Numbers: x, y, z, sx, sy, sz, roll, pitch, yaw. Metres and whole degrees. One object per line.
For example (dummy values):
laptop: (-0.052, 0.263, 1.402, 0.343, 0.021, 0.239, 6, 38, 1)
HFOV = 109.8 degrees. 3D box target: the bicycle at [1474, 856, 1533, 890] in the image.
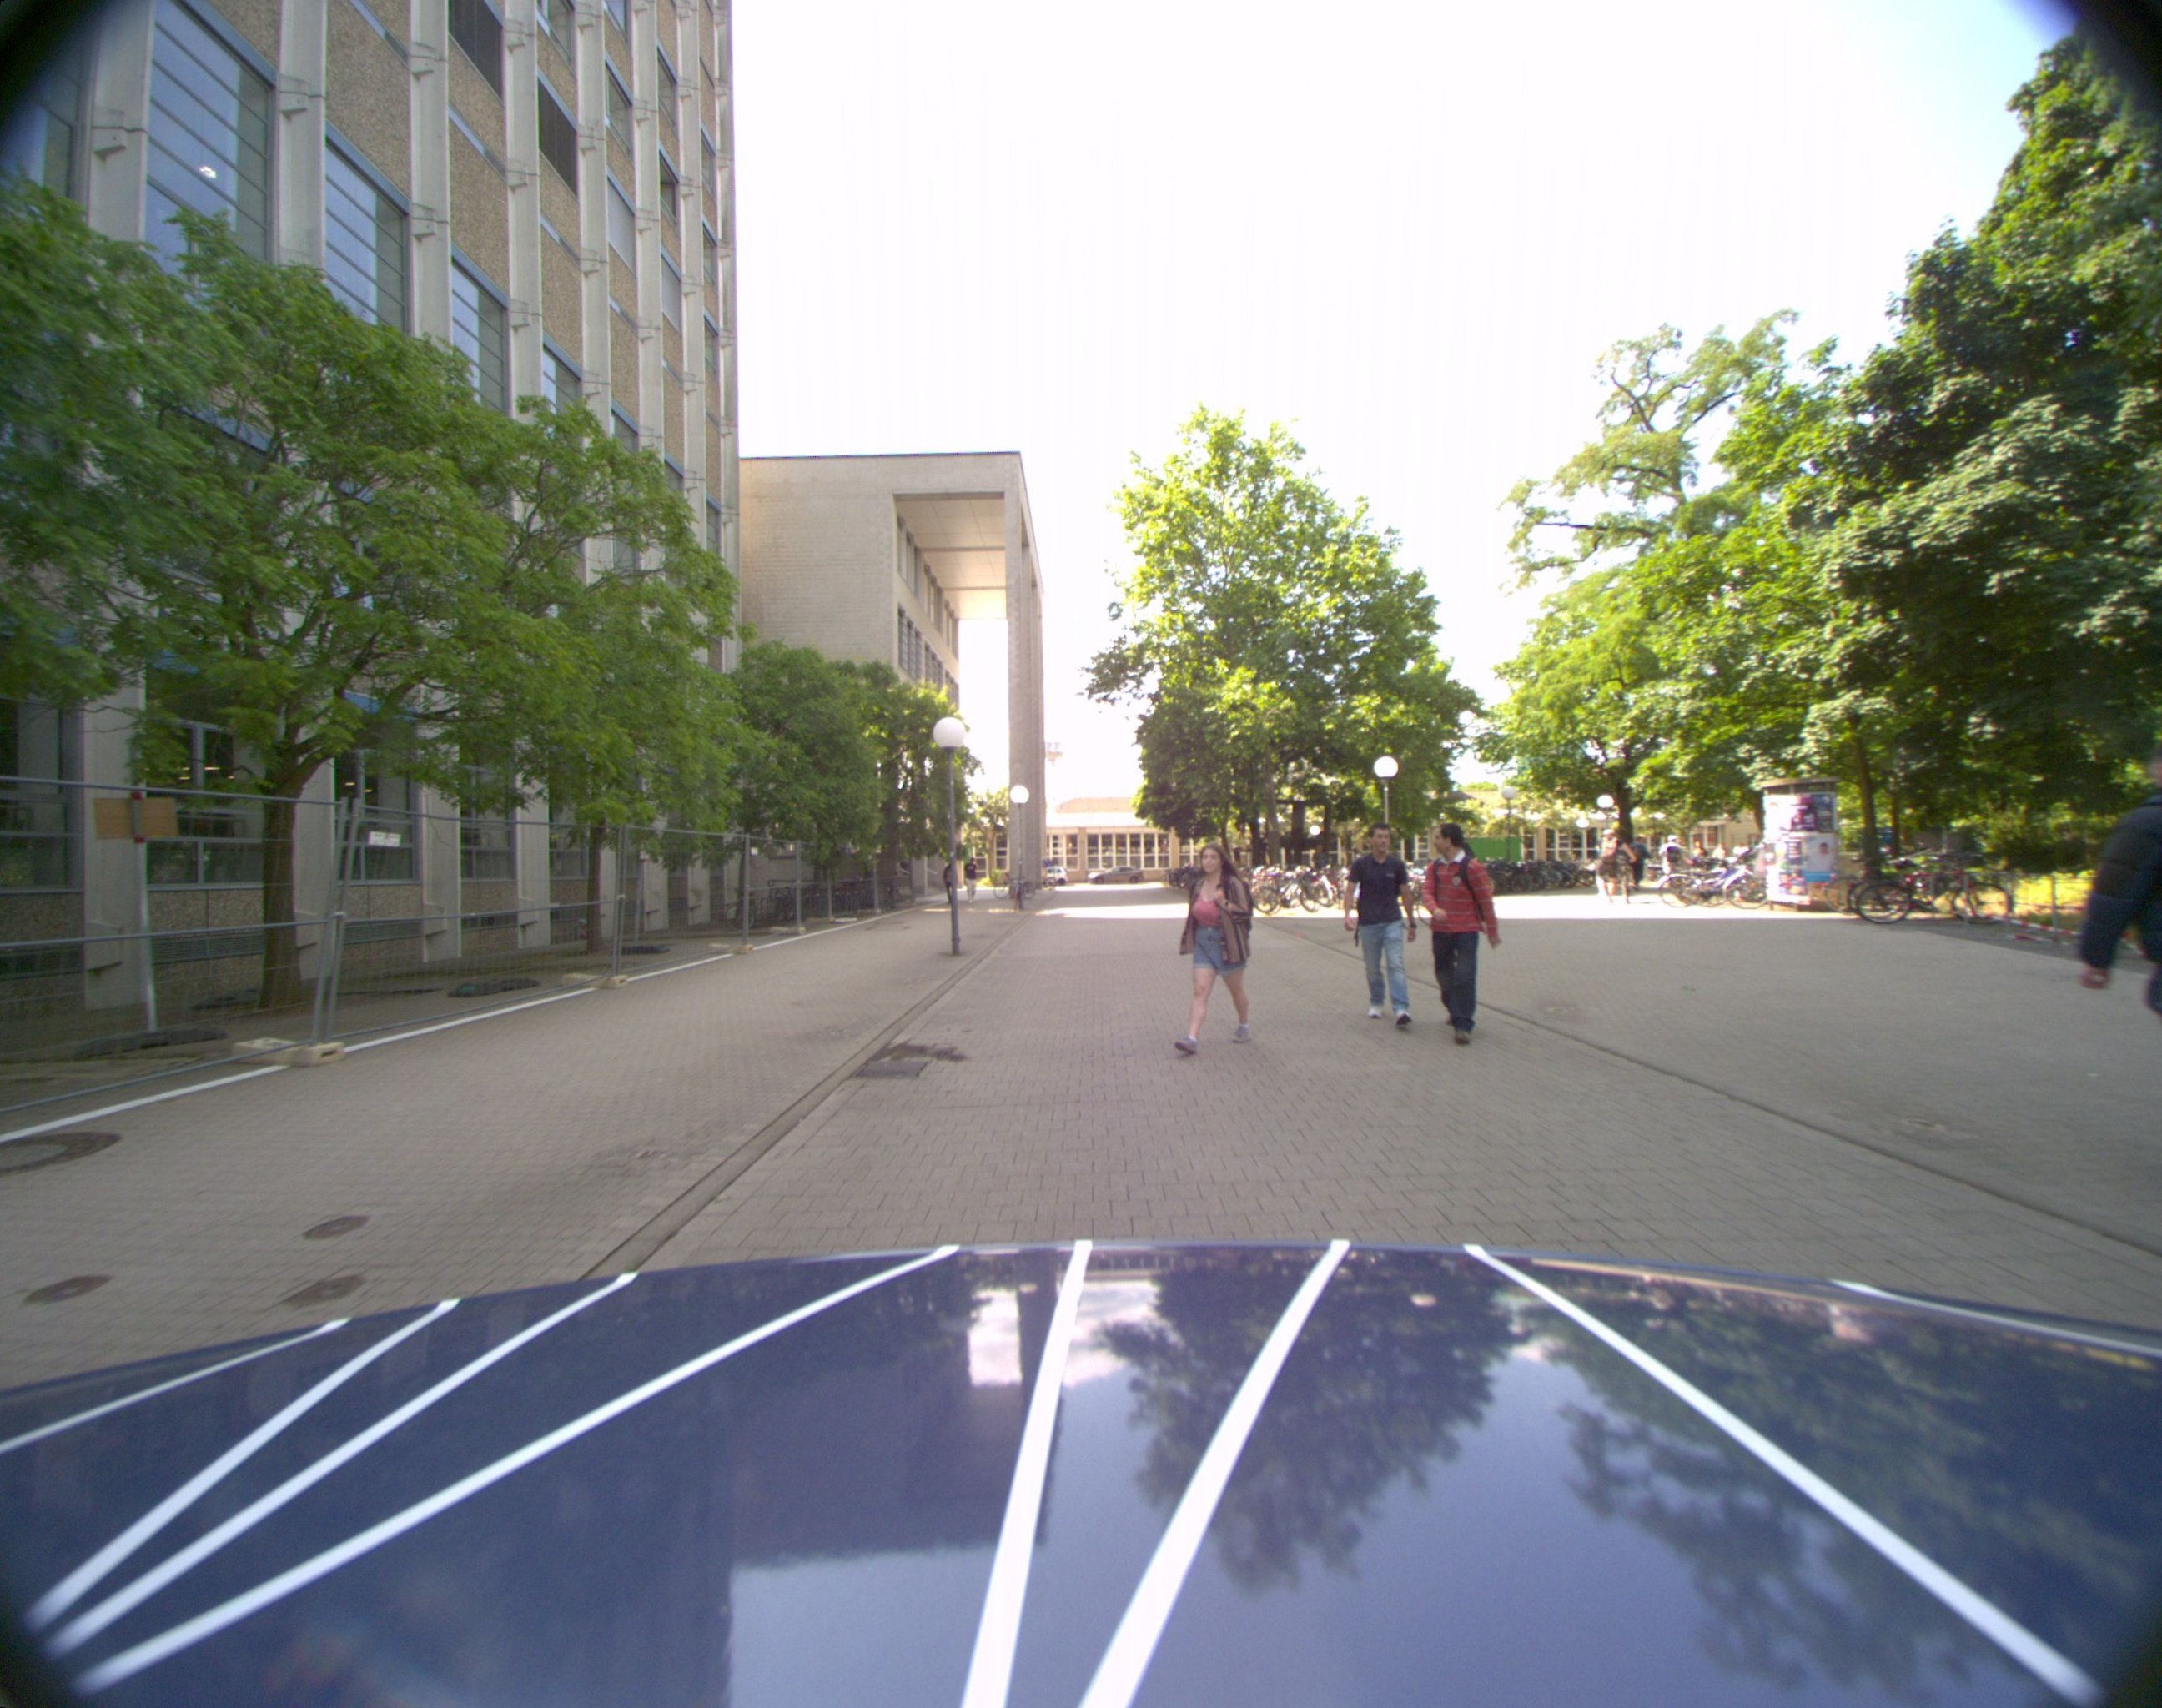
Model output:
bicycle: (14.524, 0.669, 26.143, 1.695, 1.077, 0.475, -3, 0, 36)

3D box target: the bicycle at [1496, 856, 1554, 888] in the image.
bicycle: (15.996, 0.668, 27.381, 1.695, 1.077, 0.475, -3, 0, 43)

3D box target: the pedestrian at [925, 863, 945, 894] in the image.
pedestrian: (-7.727, 1.291, 40.268, 0.809, 1.608, 0.739, -2, 0, -27)

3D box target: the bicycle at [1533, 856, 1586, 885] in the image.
bicycle: (18.947, 0.651, 30.110, 0.475, 1.077, 1.695, -3, 0, -38)

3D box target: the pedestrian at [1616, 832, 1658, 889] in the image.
pedestrian: (18.254, 0.222, 24.937, 0.884, 1.804, 0.833, -3, 0, -40)

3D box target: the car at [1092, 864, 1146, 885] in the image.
car: (3.021, 1.621, 60.648, 4.208, 1.467, 1.653, -3, 1, 1)

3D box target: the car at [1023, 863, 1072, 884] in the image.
car: (-2.624, 1.576, 60.560, 3.776, 1.467, 1.653, -2, 1, 1)

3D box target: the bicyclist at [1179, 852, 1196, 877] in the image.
bicyclist: (7.421, 0.722, 53.030, 0.772, 1.706, 0.913, -1, 1, 42)

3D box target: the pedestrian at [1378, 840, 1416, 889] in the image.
pedestrian: (11.274, 0.376, 27.114, 0.771, 1.693, 0.905, -3, 0, -43)

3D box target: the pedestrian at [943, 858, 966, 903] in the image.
pedestrian: (-4.795, 1.012, 28.702, 0.703, 1.645, 0.881, -2, -1, -17)

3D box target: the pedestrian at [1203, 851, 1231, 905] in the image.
pedestrian: (4.353, 0.760, 24.261, 0.768, 1.669, 0.908, -2, -1, 13)

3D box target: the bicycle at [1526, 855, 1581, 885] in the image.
bicycle: (18.286, 0.625, 29.411, 0.475, 1.077, 1.695, -3, 0, -38)

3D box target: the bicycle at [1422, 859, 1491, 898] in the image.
bicycle: (10.938, 0.722, 22.140, 1.695, 1.077, 0.475, -3, 0, 39)

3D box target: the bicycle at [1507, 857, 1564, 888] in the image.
bicycle: (16.858, 0.705, 28.220, 0.475, 1.077, 1.695, -3, 0, -38)

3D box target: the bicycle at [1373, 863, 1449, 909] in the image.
bicycle: (8.328, 0.822, 19.255, 1.696, 1.077, 0.475, -3, 0, 20)

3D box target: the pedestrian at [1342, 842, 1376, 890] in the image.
pedestrian: (10.186, 0.438, 27.840, 0.905, 1.693, 0.771, -3, 0, 38)

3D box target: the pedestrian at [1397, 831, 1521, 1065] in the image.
pedestrian: (3.106, 0.698, 6.202, 0.717, 1.714, 1.067, -3, -1, 34)

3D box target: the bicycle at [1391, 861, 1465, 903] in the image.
bicycle: (9.341, 0.767, 20.506, 1.695, 1.077, 0.475, -3, 0, 42)

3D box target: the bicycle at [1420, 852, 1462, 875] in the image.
bicycle: (17.940, 0.483, 37.867, 0.503, 1.101, 1.903, -3, 0, -29)

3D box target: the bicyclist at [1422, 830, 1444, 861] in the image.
bicyclist: (22.269, -0.562, 48.045, 0.869, 1.880, 0.804, -3, -1, -25)

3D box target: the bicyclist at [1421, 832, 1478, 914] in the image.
bicyclist: (7.238, 0.367, 14.945, 0.722, 1.559, 0.595, -3, 0, -11)

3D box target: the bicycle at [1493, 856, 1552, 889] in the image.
bicycle: (15.652, 0.669, 26.972, 1.695, 1.077, 0.475, -3, 0, 43)

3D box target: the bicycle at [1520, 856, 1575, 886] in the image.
bicycle: (17.830, 0.665, 29.063, 0.475, 1.077, 1.695, -3, 0, -38)

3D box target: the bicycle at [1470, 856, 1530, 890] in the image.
bicycle: (14.198, 0.664, 25.750, 1.695, 1.077, 0.475, -3, 0, 36)

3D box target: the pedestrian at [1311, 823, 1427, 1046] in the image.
pedestrian: (2.586, 0.667, 6.782, 0.684, 1.824, 0.943, -3, -1, 35)

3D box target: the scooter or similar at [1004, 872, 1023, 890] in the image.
scooter or similar: (-4.348, 1.749, 48.999, 1.157, 1.144, 0.444, -2, -1, 6)

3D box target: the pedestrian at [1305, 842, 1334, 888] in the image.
pedestrian: (9.557, 0.430, 30.447, 0.771, 1.796, 0.708, -3, 0, -32)

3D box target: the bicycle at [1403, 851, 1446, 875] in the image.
bicycle: (16.563, 0.438, 36.705, 0.503, 1.101, 1.902, -3, 0, -32)

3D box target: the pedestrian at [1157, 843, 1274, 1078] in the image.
pedestrian: (1.044, 0.797, 6.041, 0.686, 1.714, 0.731, -4, 0, -1)

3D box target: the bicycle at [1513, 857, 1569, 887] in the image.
bicycle: (17.266, 0.694, 28.527, 0.475, 1.077, 1.695, -3, 0, -38)

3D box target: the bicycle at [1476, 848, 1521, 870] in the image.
bicycle: (22.010, 0.292, 40.077, 0.503, 1.101, 2.026, -3, 0, -32)

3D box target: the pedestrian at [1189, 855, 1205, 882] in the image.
pedestrian: (7.402, 0.921, 48.403, 0.881, 1.645, 0.703, -2, -1, 13)

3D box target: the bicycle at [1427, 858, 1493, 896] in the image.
bicycle: (11.498, 0.715, 23.074, 1.695, 1.077, 0.475, -3, 0, 36)

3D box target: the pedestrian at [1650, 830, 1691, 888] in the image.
pedestrian: (18.861, 0.173, 24.302, 0.985, 1.793, 0.768, -3, 0, -39)

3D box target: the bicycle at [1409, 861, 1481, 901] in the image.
bicycle: (10.190, 0.763, 21.300, 1.695, 1.077, 0.475, -3, 0, 42)

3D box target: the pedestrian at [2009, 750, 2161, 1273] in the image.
pedestrian: (4.359, 0.526, 2.853, 0.886, 1.846, 1.034, -4, 0, 42)

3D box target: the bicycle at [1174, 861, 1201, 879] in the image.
bicycle: (7.437, 1.126, 53.039, 0.772, 1.144, 2.112, -1, 1, 42)

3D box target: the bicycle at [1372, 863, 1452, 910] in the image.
bicycle: (8.146, 0.801, 18.753, 1.721, 1.077, 0.474, -3, 0, 16)

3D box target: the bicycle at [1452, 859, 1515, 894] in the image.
bicycle: (13.044, 0.737, 24.643, 1.695, 1.077, 0.475, -3, 0, 36)

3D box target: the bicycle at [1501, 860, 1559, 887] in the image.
bicycle: (16.465, 0.720, 27.906, 0.453, 0.956, 1.736, -3, 0, -38)

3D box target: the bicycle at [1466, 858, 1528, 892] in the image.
bicycle: (13.865, 0.701, 25.342, 1.695, 1.077, 0.475, -3, 0, 36)

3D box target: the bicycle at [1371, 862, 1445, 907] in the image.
bicycle: (8.478, 0.795, 19.750, 1.696, 1.077, 0.475, -3, 0, 20)

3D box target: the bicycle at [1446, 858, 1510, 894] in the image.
bicycle: (12.577, 0.712, 24.109, 1.695, 1.077, 0.475, -3, 0, 36)

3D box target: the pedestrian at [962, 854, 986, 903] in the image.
pedestrian: (-4.058, 0.922, 28.659, 0.703, 1.792, 0.881, -2, -1, -17)

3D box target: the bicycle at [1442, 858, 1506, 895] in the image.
bicycle: (12.264, 0.716, 23.736, 1.695, 1.077, 0.475, -3, 0, 36)

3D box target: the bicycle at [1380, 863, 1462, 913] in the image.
bicycle: (8.129, 0.816, 18.227, 1.697, 1.103, 0.474, -3, 0, 13)

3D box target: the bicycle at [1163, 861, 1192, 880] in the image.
bicycle: (5.739, 0.985, 45.256, 1.628, 1.101, 0.497, -2, -2, 1)

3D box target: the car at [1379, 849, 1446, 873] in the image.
car: (26.294, 0.545, 60.327, 4.536, 1.608, 1.838, -2, 1, -1)

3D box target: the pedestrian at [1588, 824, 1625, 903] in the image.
pedestrian: (12.603, 0.220, 18.245, 0.612, 1.824, 1.052, -3, 0, 32)
